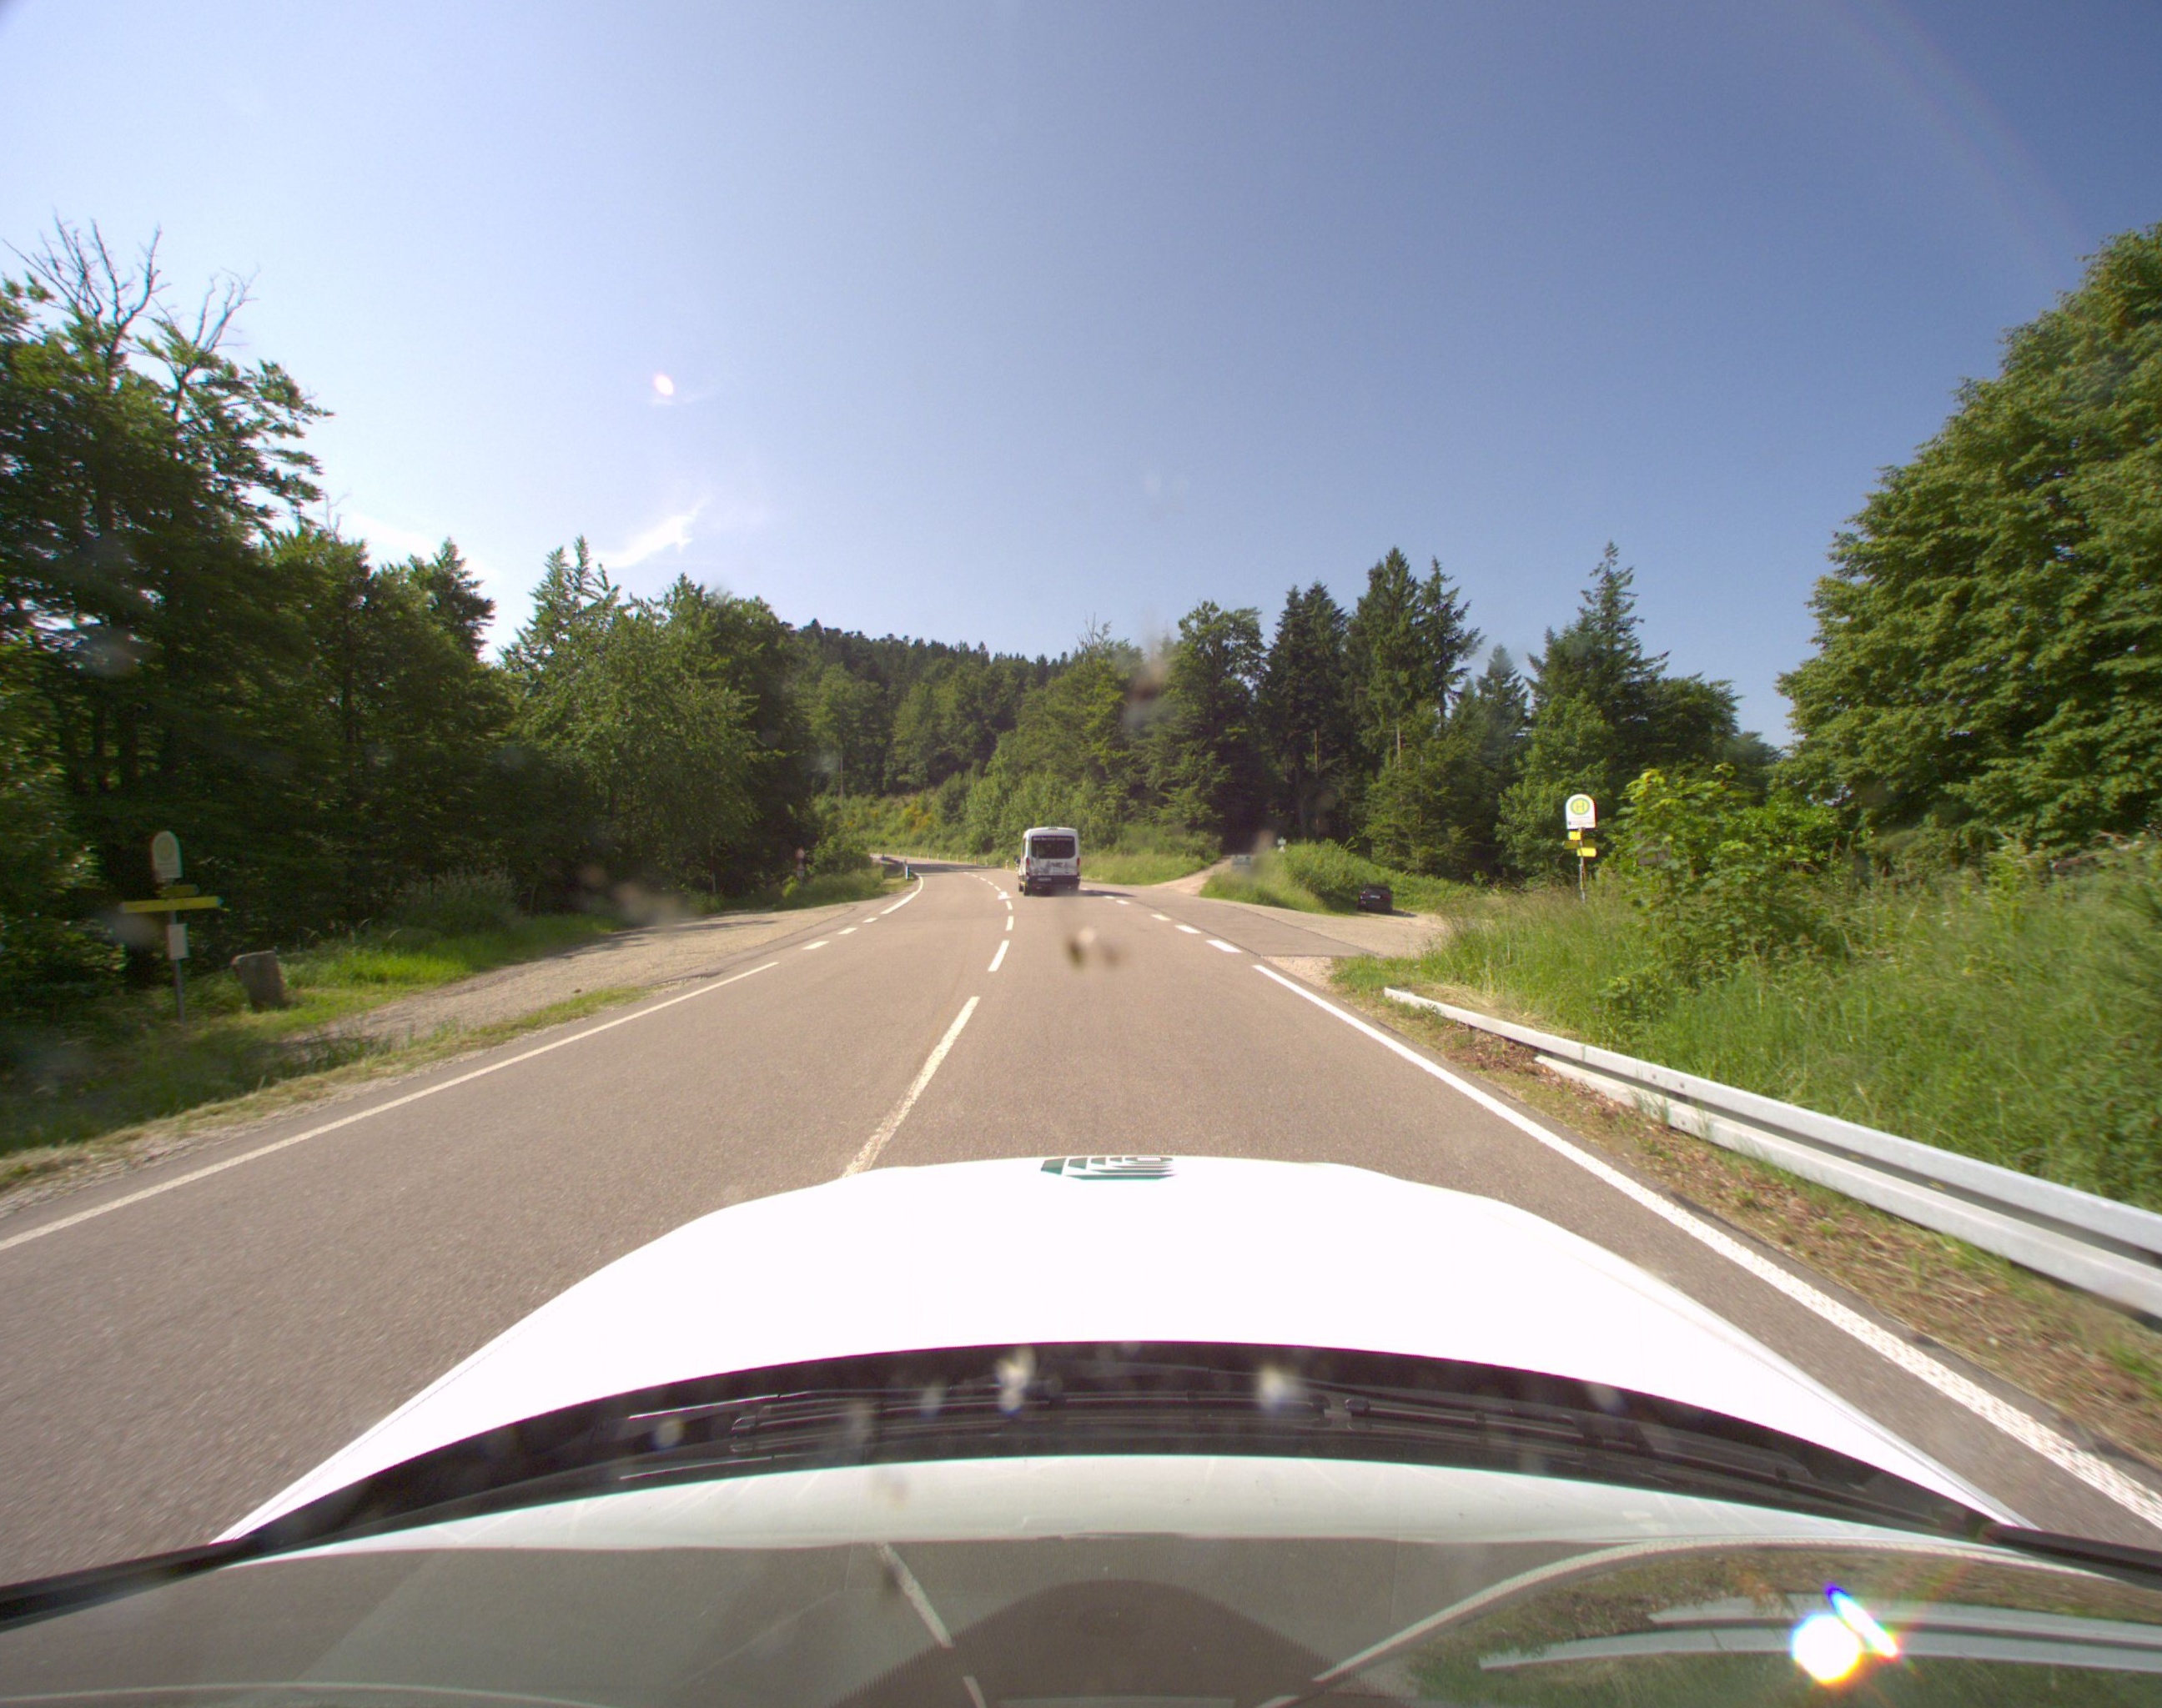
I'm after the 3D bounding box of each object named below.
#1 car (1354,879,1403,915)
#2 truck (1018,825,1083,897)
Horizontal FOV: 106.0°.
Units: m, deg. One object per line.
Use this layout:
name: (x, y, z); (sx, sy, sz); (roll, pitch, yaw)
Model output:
car: (16.732, 2.368, 45.718); (1.915, 1.593, 4.024); (6, 2, 28)
truck: (-1.275, 0.225, 31.341); (2.113, 2.498, 5.347); (-1, 0, -6)
